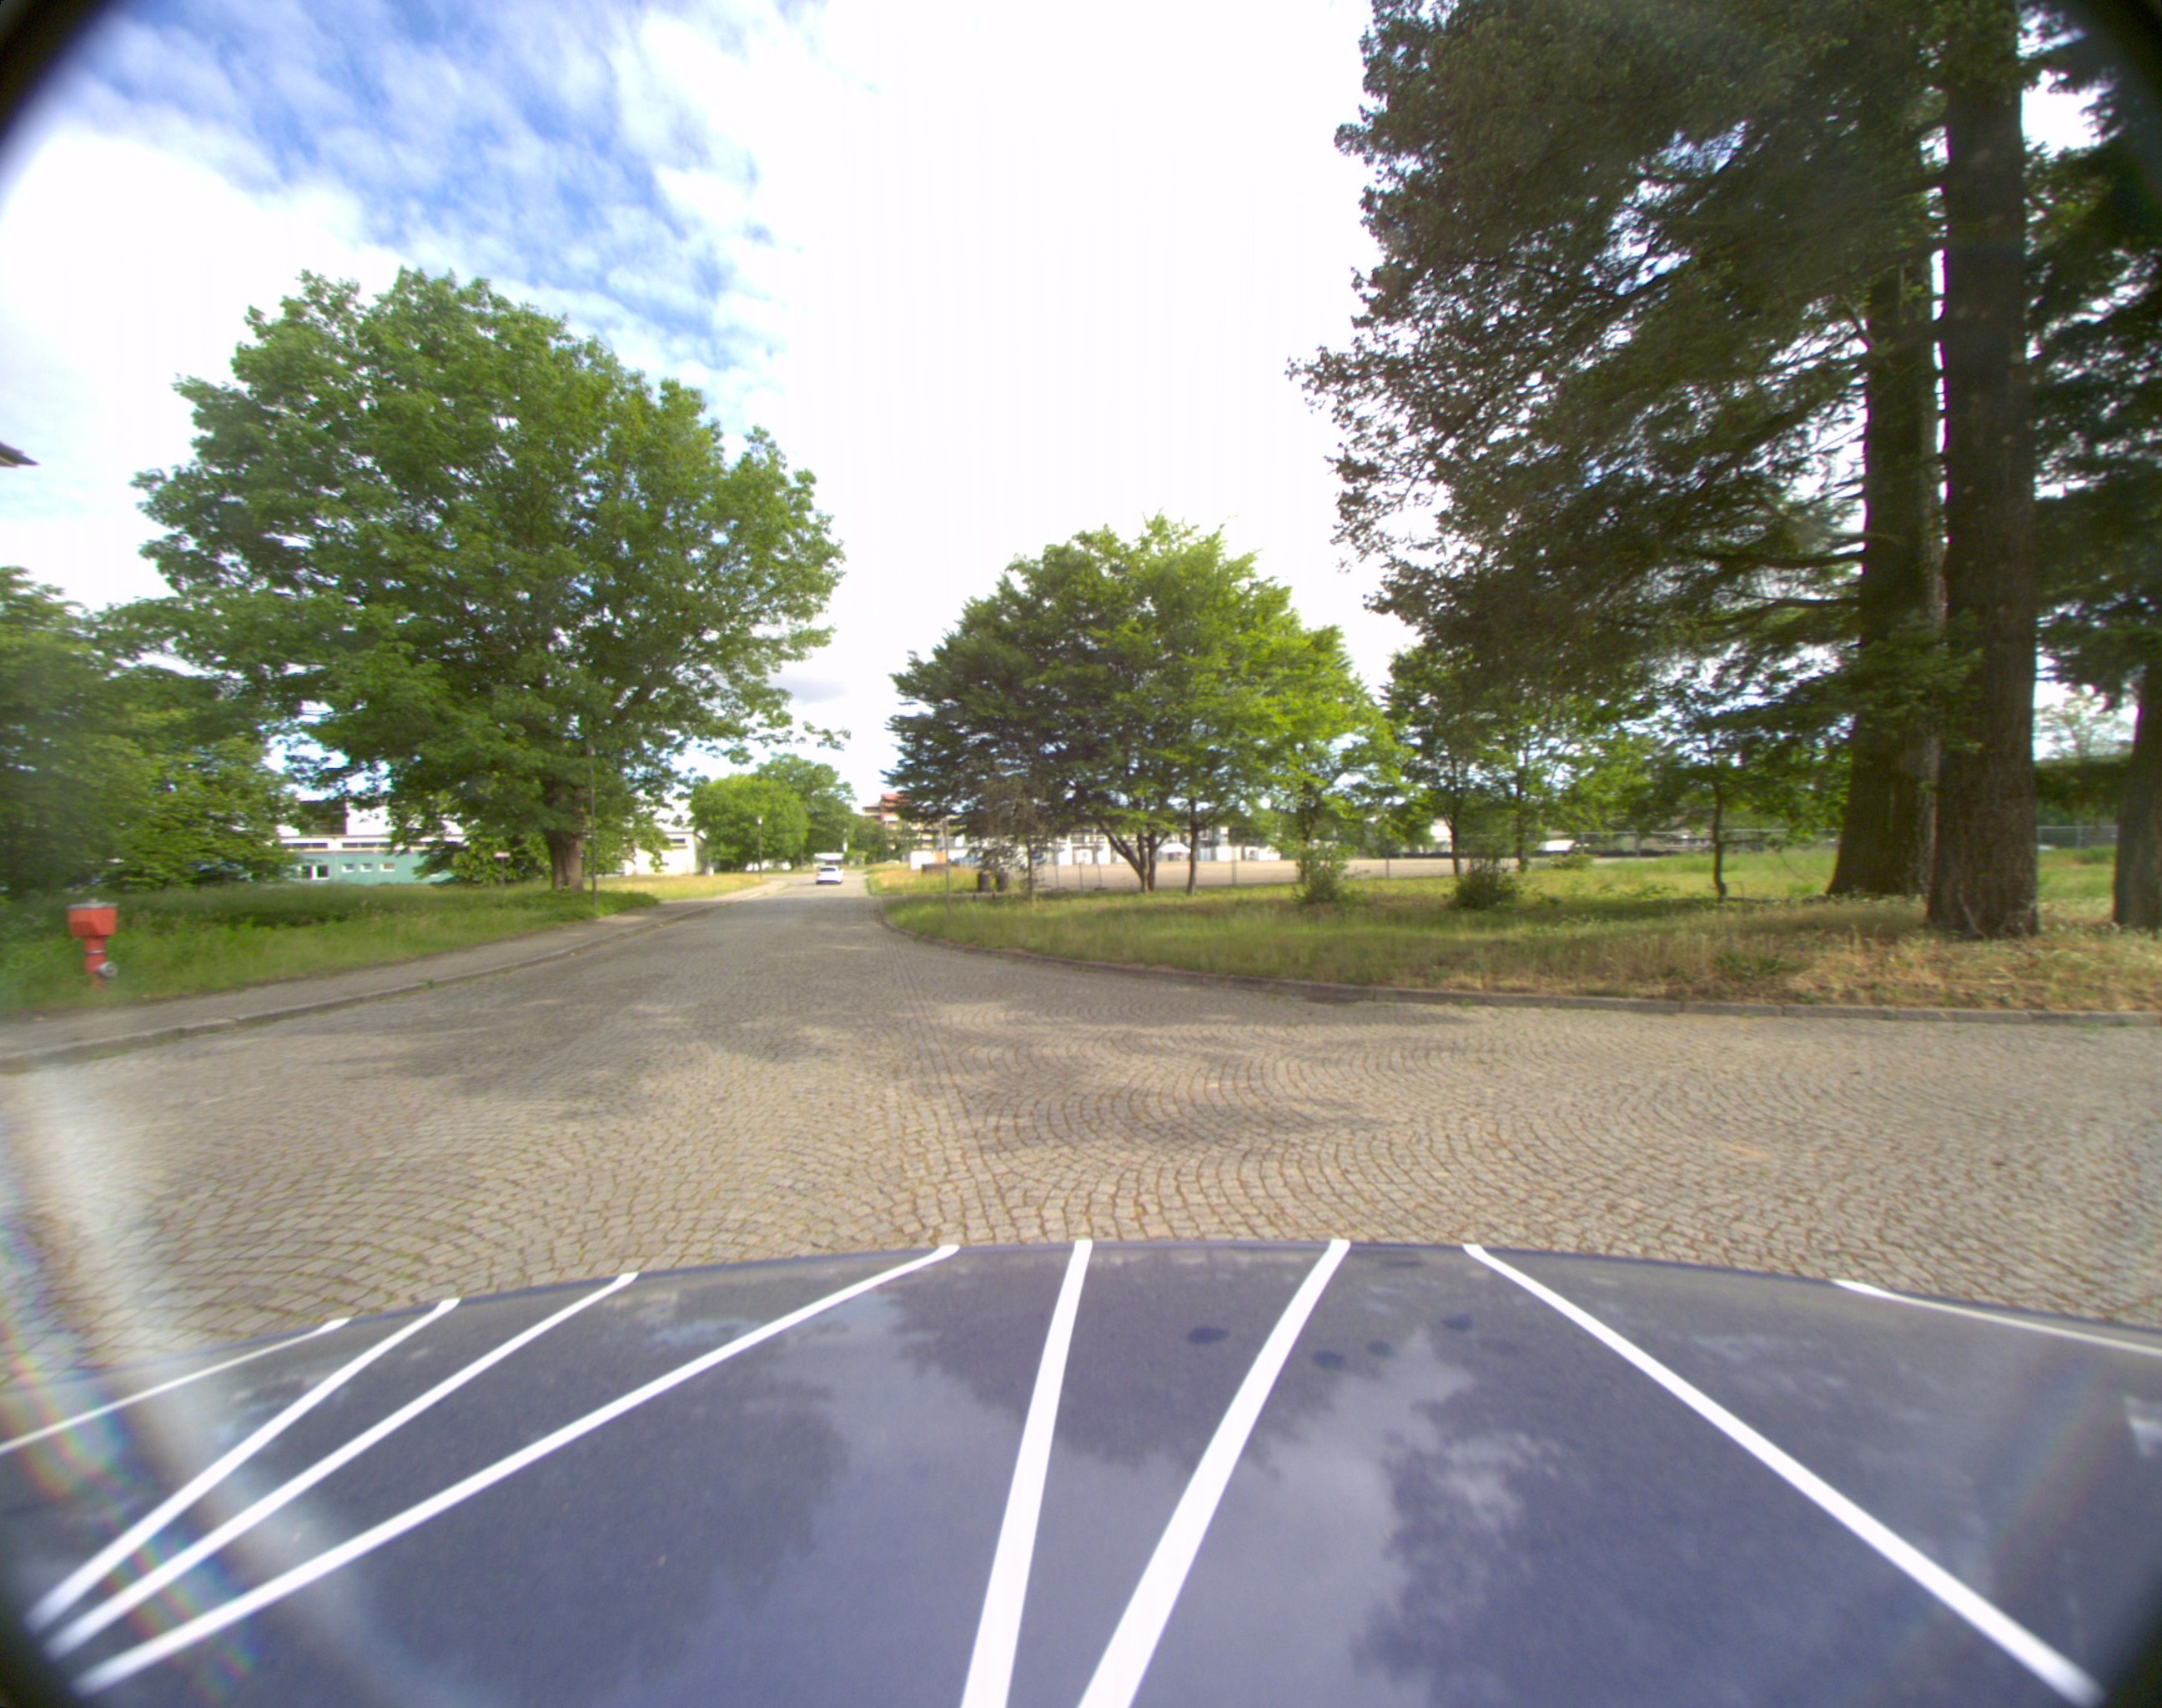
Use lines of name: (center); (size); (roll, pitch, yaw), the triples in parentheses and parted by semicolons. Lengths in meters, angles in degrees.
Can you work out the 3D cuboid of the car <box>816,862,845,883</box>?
car: (-19.278, 1.387, 58.638); (1.856, 1.429, 4.699); (-2, 0, -16)
